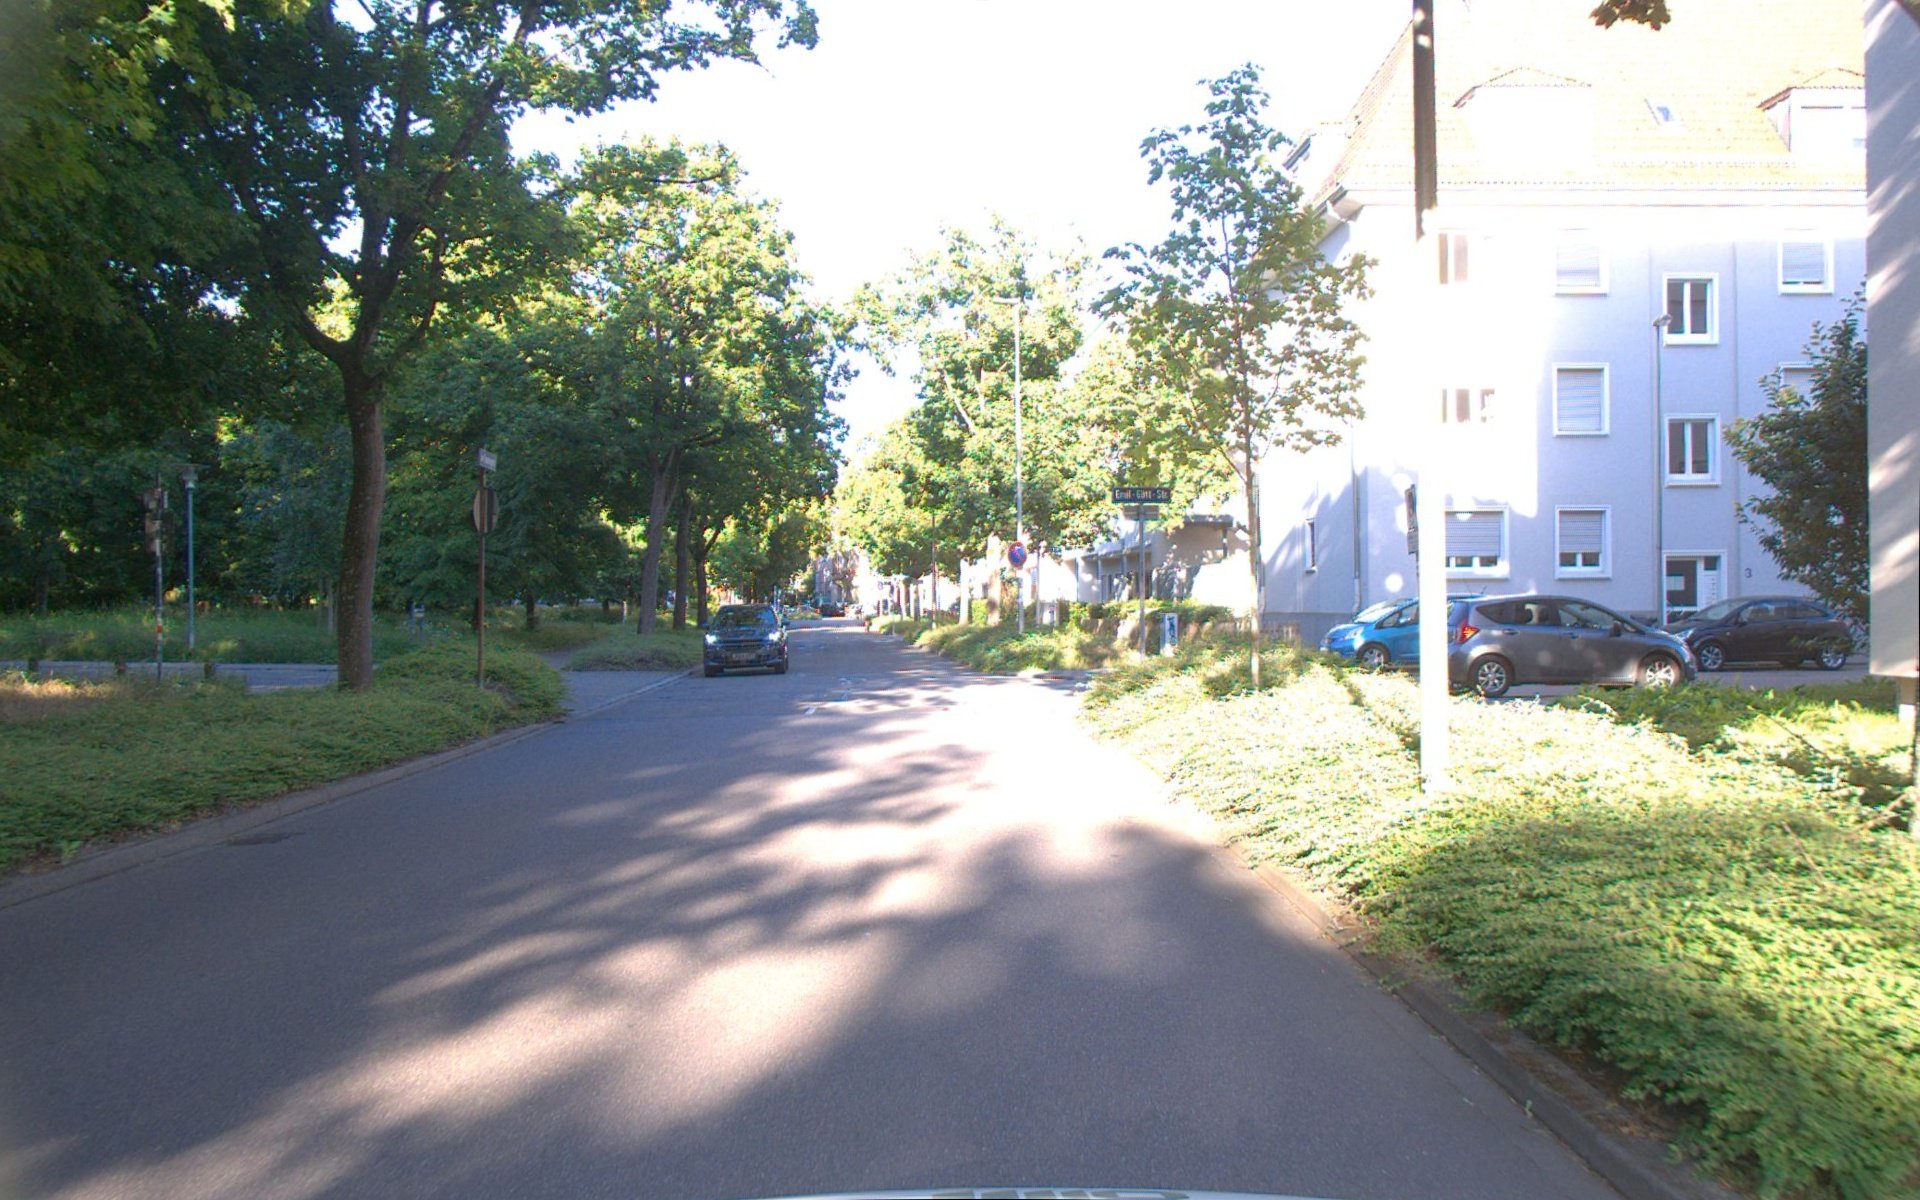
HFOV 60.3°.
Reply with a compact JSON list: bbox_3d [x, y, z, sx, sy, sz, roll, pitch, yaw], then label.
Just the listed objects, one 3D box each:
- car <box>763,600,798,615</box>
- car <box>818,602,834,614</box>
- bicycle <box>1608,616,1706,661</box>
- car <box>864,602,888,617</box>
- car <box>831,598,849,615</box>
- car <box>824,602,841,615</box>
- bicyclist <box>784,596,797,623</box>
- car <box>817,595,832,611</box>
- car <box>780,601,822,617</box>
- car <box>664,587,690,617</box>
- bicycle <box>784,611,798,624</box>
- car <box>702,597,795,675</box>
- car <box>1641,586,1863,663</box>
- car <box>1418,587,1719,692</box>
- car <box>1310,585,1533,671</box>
[{"bbox_3d":[-19.068,0.811,175.419,3.525,1.537,1.495,1,0,-13],"label":"car"},{"bbox_3d":[-16.948,1.032,208.784,1.777,1.527,3.992,1,0,-8],"label":"car"},{"bbox_3d":[14.905,0.822,35.398,1.924,0.942,0.482,1,1,-4],"label":"bicycle"},{"bbox_3d":[-8.497,0.937,166.249,1.779,1.527,3.988,-1,0,-12],"label":"car"},{"bbox_3d":[-14.067,0.767,194.329,1.777,1.959,3.992,1,0,-8],"label":"car"},{"bbox_3d":[-15.565,1.004,202.354,1.777,1.527,3.992,1,0,-8],"label":"car"},{"bbox_3d":[-10.320,0.565,100.604,0.620,1.582,1.002,-2,0,-1],"label":"bicyclist"},{"bbox_3d":[-17.916,0.418,218.942,1.777,2.086,3.992,1,0,-8],"label":"car"},{"bbox_3d":[-15.751,0.908,163.376,3.918,1.527,1.811,1,0,-13],"label":"car"},{"bbox_3d":[-24.163,0.162,141.100,1.959,2.552,3.986,1,0,-14],"label":"car"},{"bbox_3d":[-10.296,1.076,100.628,0.626,0.755,2.125,-2,0,-1],"label":"bicycle"},{"bbox_3d":[-4.781,0.780,37.927,1.808,1.606,4.332,-2,0,-4],"label":"car"},{"bbox_3d":[16.000,0.488,33.504,3.748,1.524,1.647,0,0,-3],"label":"car"},{"bbox_3d":[9.222,0.604,25.258,3.961,1.541,1.725,0,-2,-4],"label":"car"},{"bbox_3d":[9.174,0.531,33.029,3.910,1.609,1.808,-1,1,-6],"label":"car"}]
